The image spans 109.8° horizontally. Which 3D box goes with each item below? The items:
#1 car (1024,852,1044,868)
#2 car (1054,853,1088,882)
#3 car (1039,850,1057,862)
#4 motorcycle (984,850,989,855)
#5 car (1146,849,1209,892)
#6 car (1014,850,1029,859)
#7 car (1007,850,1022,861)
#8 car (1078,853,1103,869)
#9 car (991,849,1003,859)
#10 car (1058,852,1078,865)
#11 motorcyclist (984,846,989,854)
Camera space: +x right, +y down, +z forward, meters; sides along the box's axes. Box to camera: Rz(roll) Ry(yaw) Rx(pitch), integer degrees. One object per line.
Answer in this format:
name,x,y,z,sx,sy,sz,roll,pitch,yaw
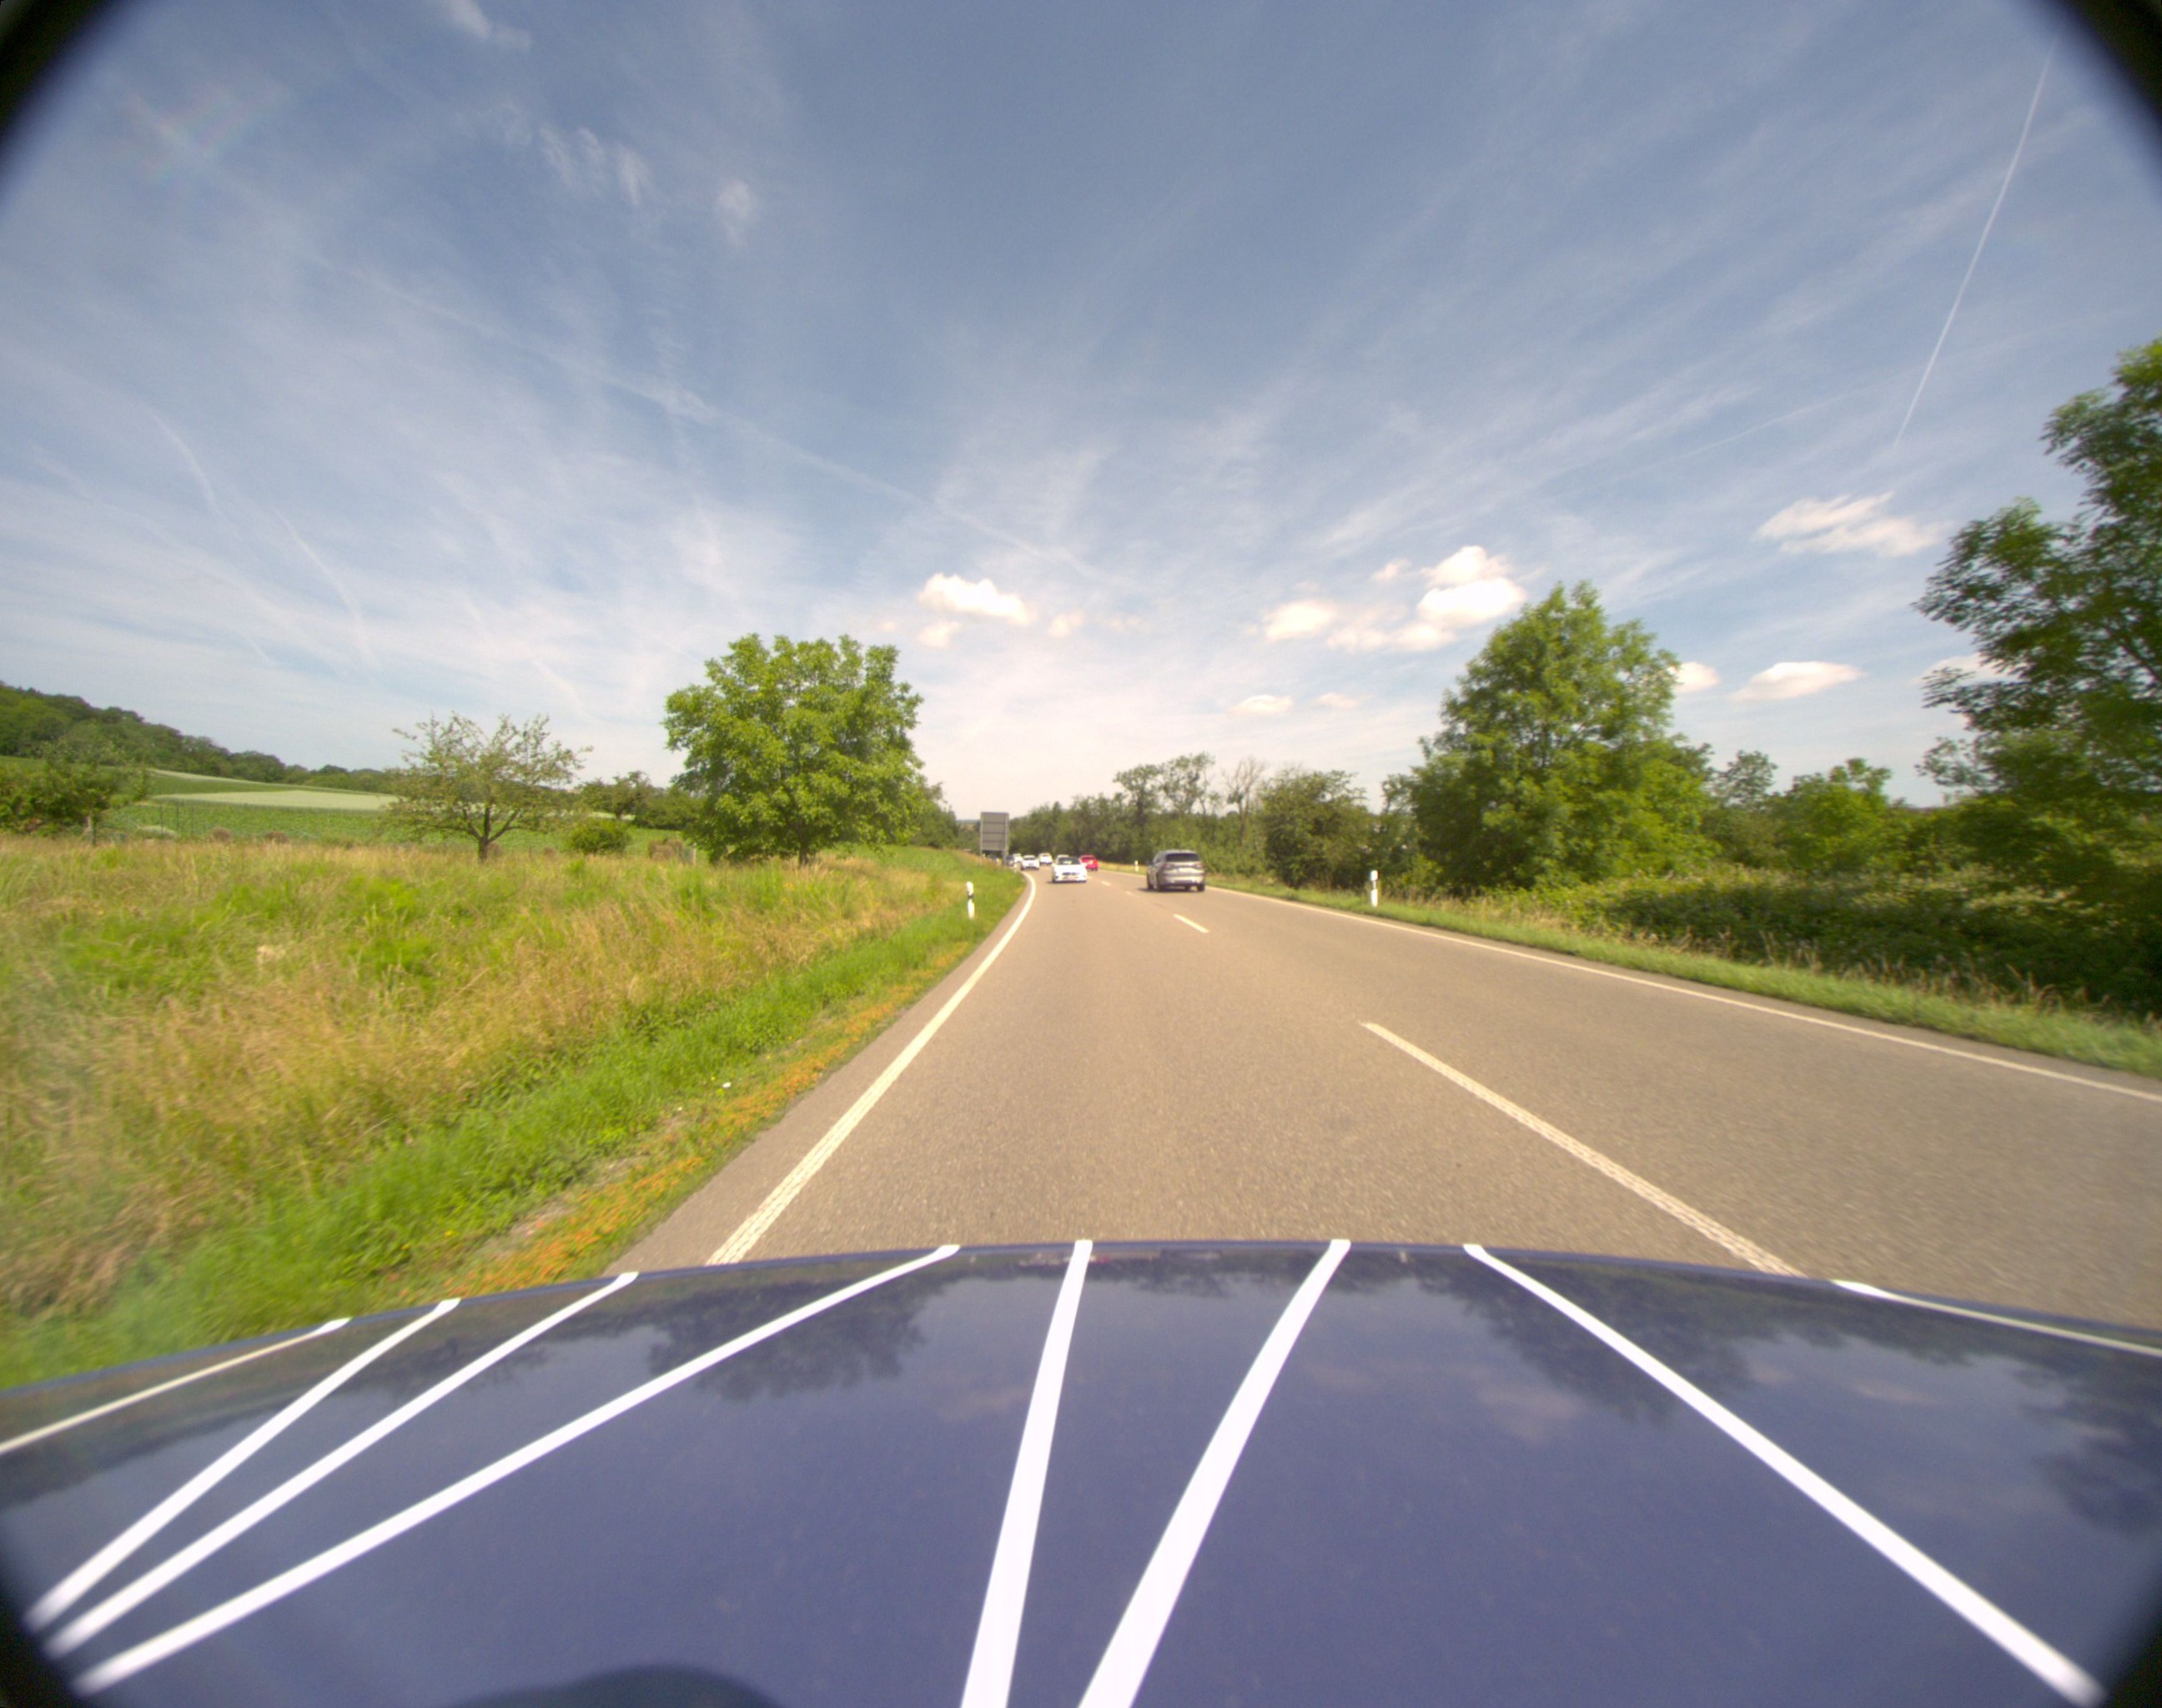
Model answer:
car,-4.989,0.623,80.052,1.867,1.480,3.996,-2,2,-7
car,-0.605,0.724,43.339,1.773,1.437,3.998,-2,1,-3
car,-4.554,0.269,105.617,1.840,1.607,4.357,1,0,-11
motorcycle,-20.604,-0.308,166.289,0.760,0.988,2.276,1,0,-15
car,3.820,0.613,30.823,1.962,1.596,4.400,-1,0,-1
car,-10.496,0.044,133.525,1.797,1.513,4.154,1,0,-15
car,-9.442,0.238,107.616,1.826,1.510,3.996,1,0,-10
car,0.870,0.615,71.716,1.826,1.390,4.179,2,0,-7
car,-14.373,-0.046,130.059,1.667,1.641,3.996,1,0,-10
car,-1.507,0.540,86.717,1.756,1.406,3.769,1,0,-10
motorcyclist,-20.638,-0.800,166.332,0.922,1.708,0.961,-1,1,-14
